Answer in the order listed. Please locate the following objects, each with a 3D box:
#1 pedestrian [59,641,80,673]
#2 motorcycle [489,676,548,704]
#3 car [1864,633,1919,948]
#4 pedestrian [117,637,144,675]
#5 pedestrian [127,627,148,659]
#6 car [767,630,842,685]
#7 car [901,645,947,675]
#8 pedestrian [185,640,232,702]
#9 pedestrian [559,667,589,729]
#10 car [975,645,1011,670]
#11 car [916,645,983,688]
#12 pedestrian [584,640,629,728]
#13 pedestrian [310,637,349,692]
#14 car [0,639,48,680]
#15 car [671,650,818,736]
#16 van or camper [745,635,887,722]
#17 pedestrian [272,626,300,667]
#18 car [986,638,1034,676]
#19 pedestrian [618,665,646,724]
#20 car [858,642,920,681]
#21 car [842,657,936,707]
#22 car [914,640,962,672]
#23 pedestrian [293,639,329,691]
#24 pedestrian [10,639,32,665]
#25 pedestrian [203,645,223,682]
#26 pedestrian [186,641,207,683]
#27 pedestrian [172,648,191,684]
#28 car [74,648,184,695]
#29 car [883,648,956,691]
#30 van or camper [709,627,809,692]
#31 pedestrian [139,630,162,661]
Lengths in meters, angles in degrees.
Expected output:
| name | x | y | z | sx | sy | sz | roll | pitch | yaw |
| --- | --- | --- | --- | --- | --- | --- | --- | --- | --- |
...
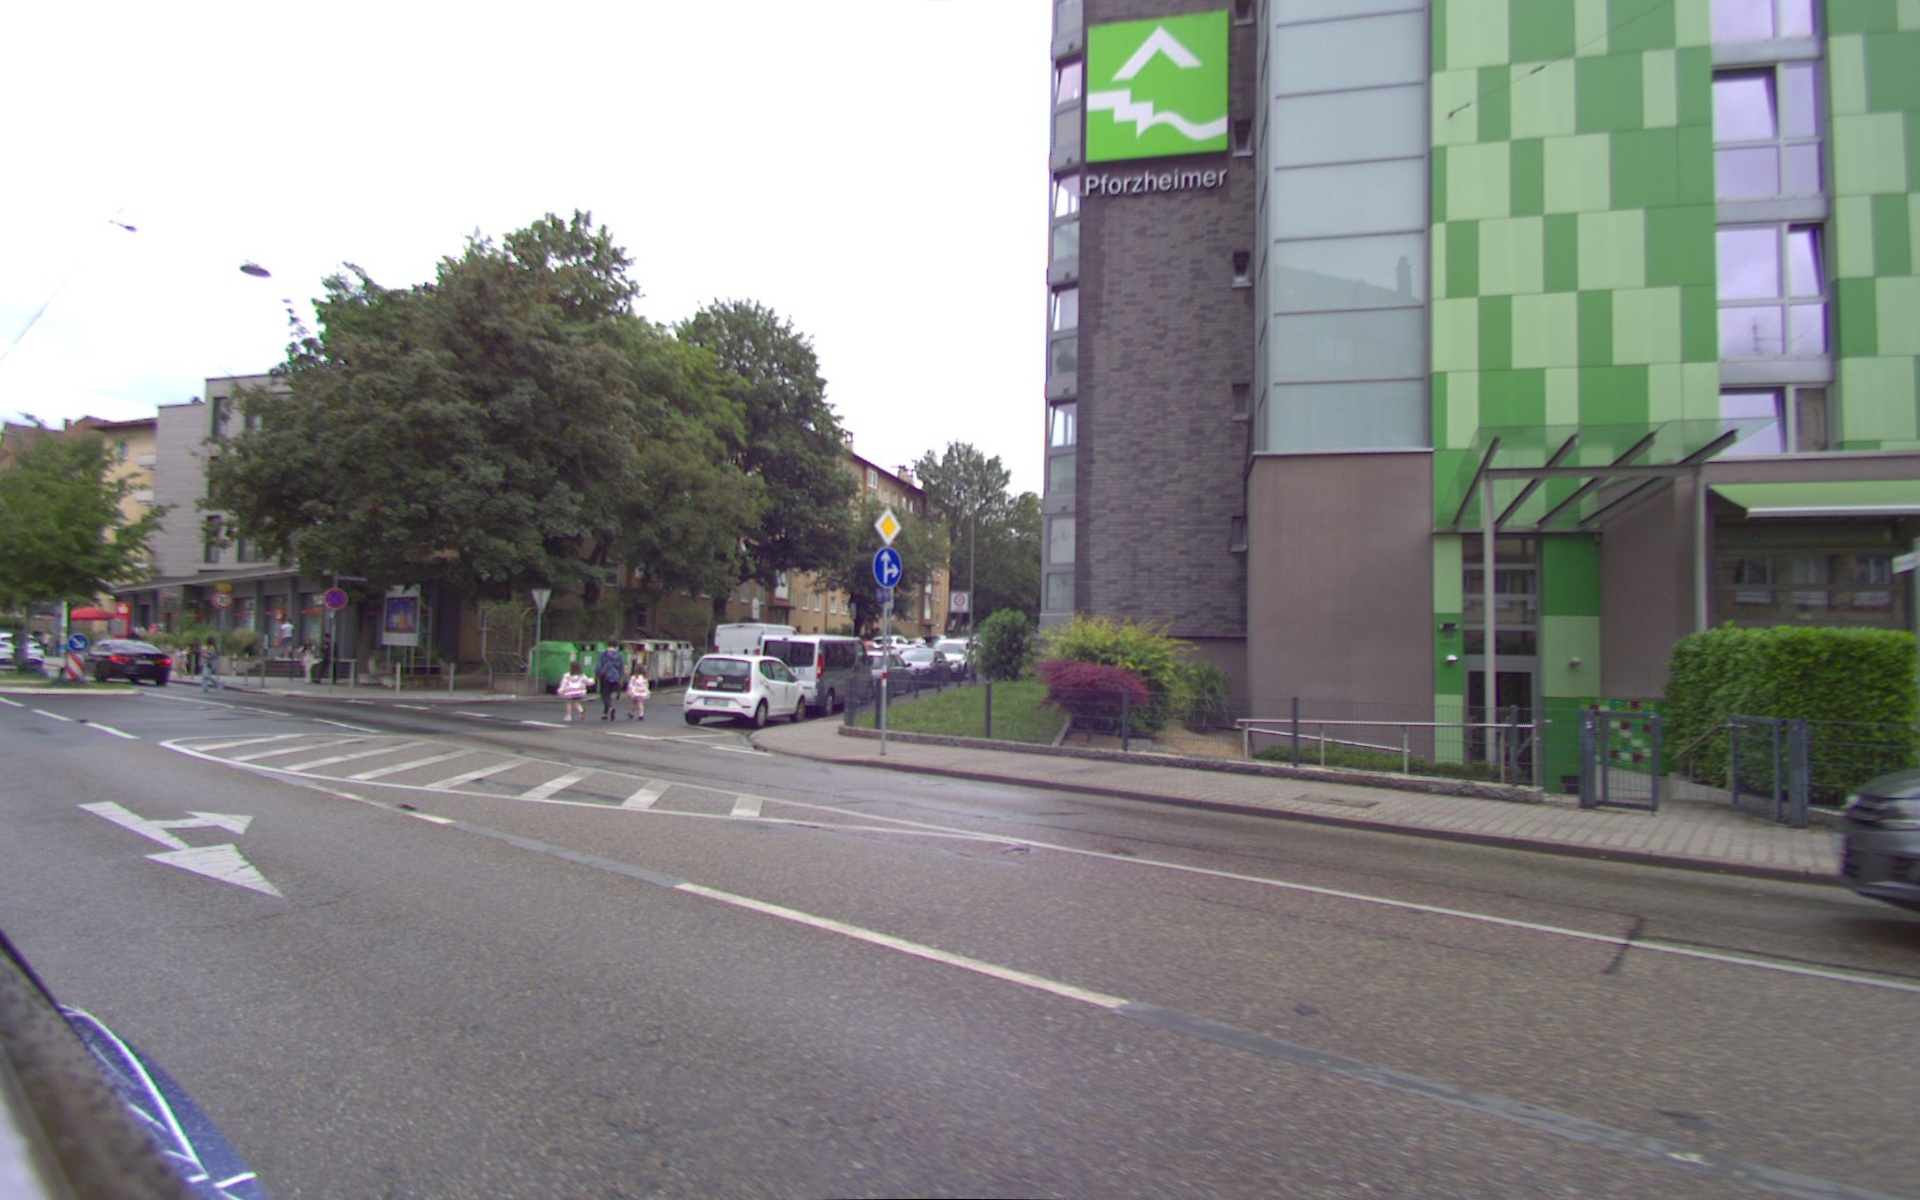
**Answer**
| name | x | y | z | sx | sy | sz | roll | pitch | yaw |
| --- | --- | --- | --- | --- | --- | --- | --- | --- | --- |
| pedestrian | -52.666 | 3.368 | 59.854 | 0.867 | 1.833 | 0.585 | -1 | -4 | 31 |
| motorcycle | -17.493 | 3.558 | 40.141 | 2.025 | 0.995 | 0.798 | 0 | -2 | -36 |
| car | 7.151 | 1.050 | 4.774 | 4.049 | 1.672 | 1.931 | -2 | -7 | 36 |
| pedestrian | -41.180 | 2.777 | 50.235 | 0.716 | 1.840 | 0.718 | -2 | -4 | 20 |
| pedestrian | -45.139 | 2.367 | 55.522 | 0.712 | 1.691 | 0.706 | -2 | -4 | 39 |
| car | -6.753 | 2.546 | 44.355 | 1.979 | 2.273 | 3.985 | 0 | -4 | 11 |
| car | -2.151 | 3.657 | 61.429 | 1.978 | 1.764 | 3.987 | 0 | -4 | 10 |
| pedestrian | -22.441 | 2.114 | 30.226 | 0.847 | 1.840 | 0.719 | -1 | -4 | 17 |
| pedestrian | -7.653 | 1.942 | 20.078 | 0.310 | 1.207 | 0.405 | -2 | -4 | 33 |
| car | 2.834 | 4.882 | 85.070 | 1.984 | 2.029 | 3.975 | -1 | -4 | 18 |
| car | -0.388 | 2.850 | 43.541 | 1.980 | 1.741 | 3.982 | 0 | -4 | 13 |
| pedestrian | -7.213 | 1.704 | 20.661 | 0.579 | 1.776 | 0.569 | -2 | -4 | 33 |
| pedestrian | -21.776 | 2.218 | 34.961 | 0.690 | 1.859 | 0.855 | -1 | -4 | 25 |
| car | -40.652 | 2.521 | 43.145 | 4.083 | 1.581 | 1.802 | -2 | -9 | 38 |
| car | -4.513 | 1.941 | 21.734 | 1.723 | 1.581 | 3.575 | 3 | -3 | 12 |
| van or camper | -3.647 | 1.964 | 26.639 | 1.981 | 2.029 | 4.944 | 0 | -2 | 14 |
| pedestrian | -30.520 | 2.094 | 45.806 | 0.714 | 1.840 | 0.721 | -1 | -3 | 11 |
| car | 2.811 | 3.167 | 55.978 | 1.980 | 2.029 | 3.982 | 0 | -4 | 13 |
| pedestrian | -6.835 | 1.955 | 21.090 | 0.357 | 1.207 | 0.405 | -2 | -4 | 33 |
| car | -3.845 | 3.392 | 55.537 | 1.984 | 2.029 | 3.975 | -1 | -4 | 18 |
| car | -2.184 | 2.591 | 32.274 | 1.980 | 1.454 | 3.712 | 0 | -4 | 13 |
| car | -1.436 | 3.735 | 67.043 | 1.984 | 2.029 | 3.975 | -1 | -4 | 18 |
| pedestrian | -22.512 | 2.254 | 35.106 | 0.714 | 1.772 | 0.653 | 0 | -4 | 16 |
| pedestrian | -61.711 | 3.424 | 66.525 | 0.755 | 1.722 | 0.789 | -1 | -2 | 14 |
| pedestrian | -30.740 | 2.612 | 41.636 | 0.529 | 1.485 | 0.455 | -2 | -4 | 36 |
| pedestrian | -31.167 | 2.522 | 41.317 | 0.551 | 1.686 | 0.493 | -2 | -4 | 36 |
| pedestrian | -31.494 | 2.666 | 40.940 | 0.480 | 1.421 | 0.429 | -2 | -4 | 36 |
| car | -27.957 | 2.353 | 34.007 | 4.495 | 1.436 | 1.994 | -2 | -3 | 39 |
| car | -1.432 | 2.566 | 37.559 | 1.678 | 1.475 | 3.982 | 0 | -4 | 13 |
| van or camper | -7.441 | 2.187 | 38.028 | 2.187 | 2.283 | 4.603 | -1 | -2 | 10 |
| pedestrian | -43.955 | 2.470 | 54.940 | 0.701 | 1.691 | 0.803 | 2 | -4 | -23 |
